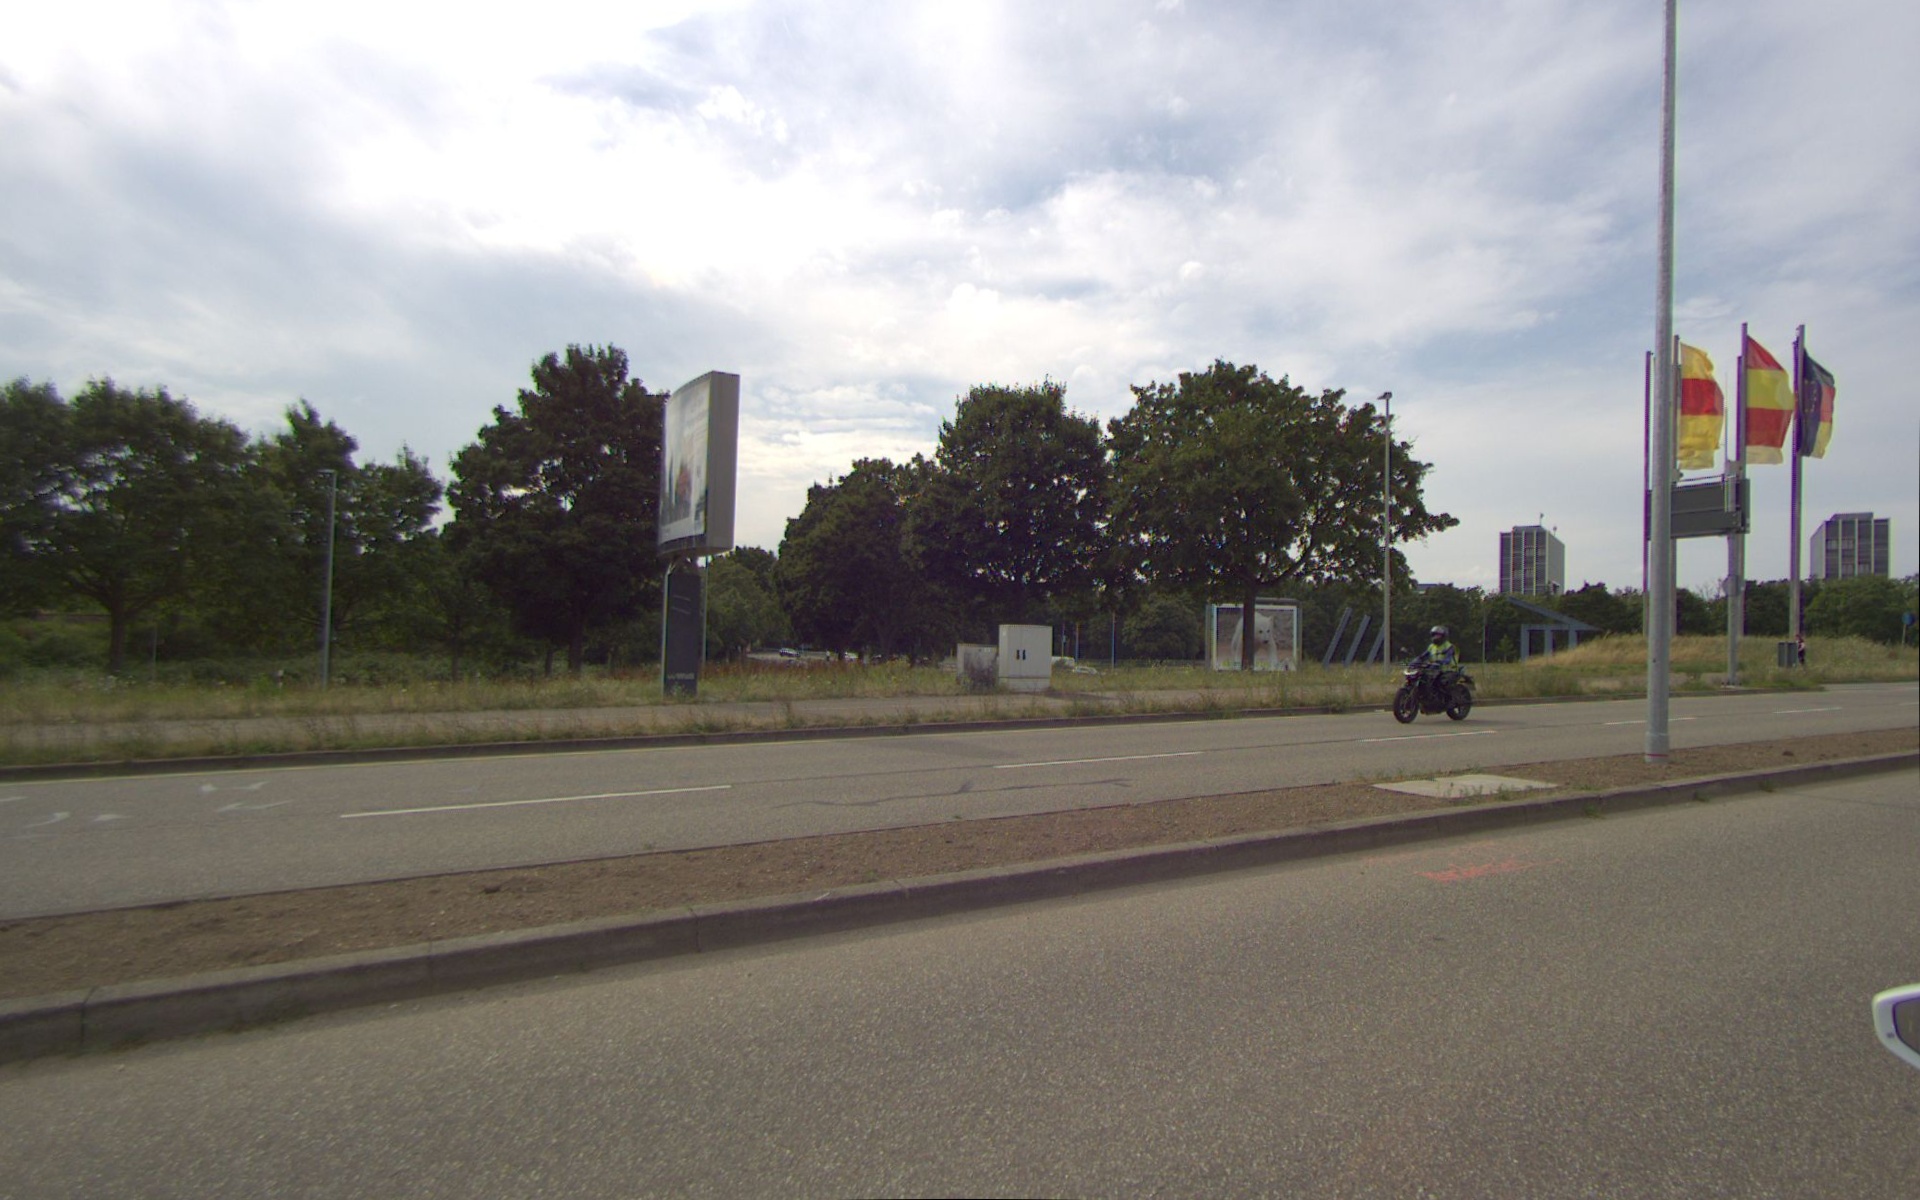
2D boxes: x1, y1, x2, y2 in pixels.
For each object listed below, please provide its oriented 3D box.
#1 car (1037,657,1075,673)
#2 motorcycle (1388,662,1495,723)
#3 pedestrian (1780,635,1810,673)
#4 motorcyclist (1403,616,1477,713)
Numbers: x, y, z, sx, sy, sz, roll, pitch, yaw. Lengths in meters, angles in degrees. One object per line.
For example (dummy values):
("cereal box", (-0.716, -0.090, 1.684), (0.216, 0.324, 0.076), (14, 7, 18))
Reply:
("car", (14.860, 10.031, 155.174), (5.766, 2.410, 1.981), (-1, -3, 41))
("motorcycle", (8.274, 1.561, 17.213), (2.193, 0.979, 0.520), (2, -2, -30))
("pedestrian", (38.128, 2.454, 45.875), (0.671, 1.715, 0.861), (1, -3, -30))
("motorcyclist", (8.297, 1.101, 17.365), (0.885, 1.609, 0.766), (1, -3, -30))
